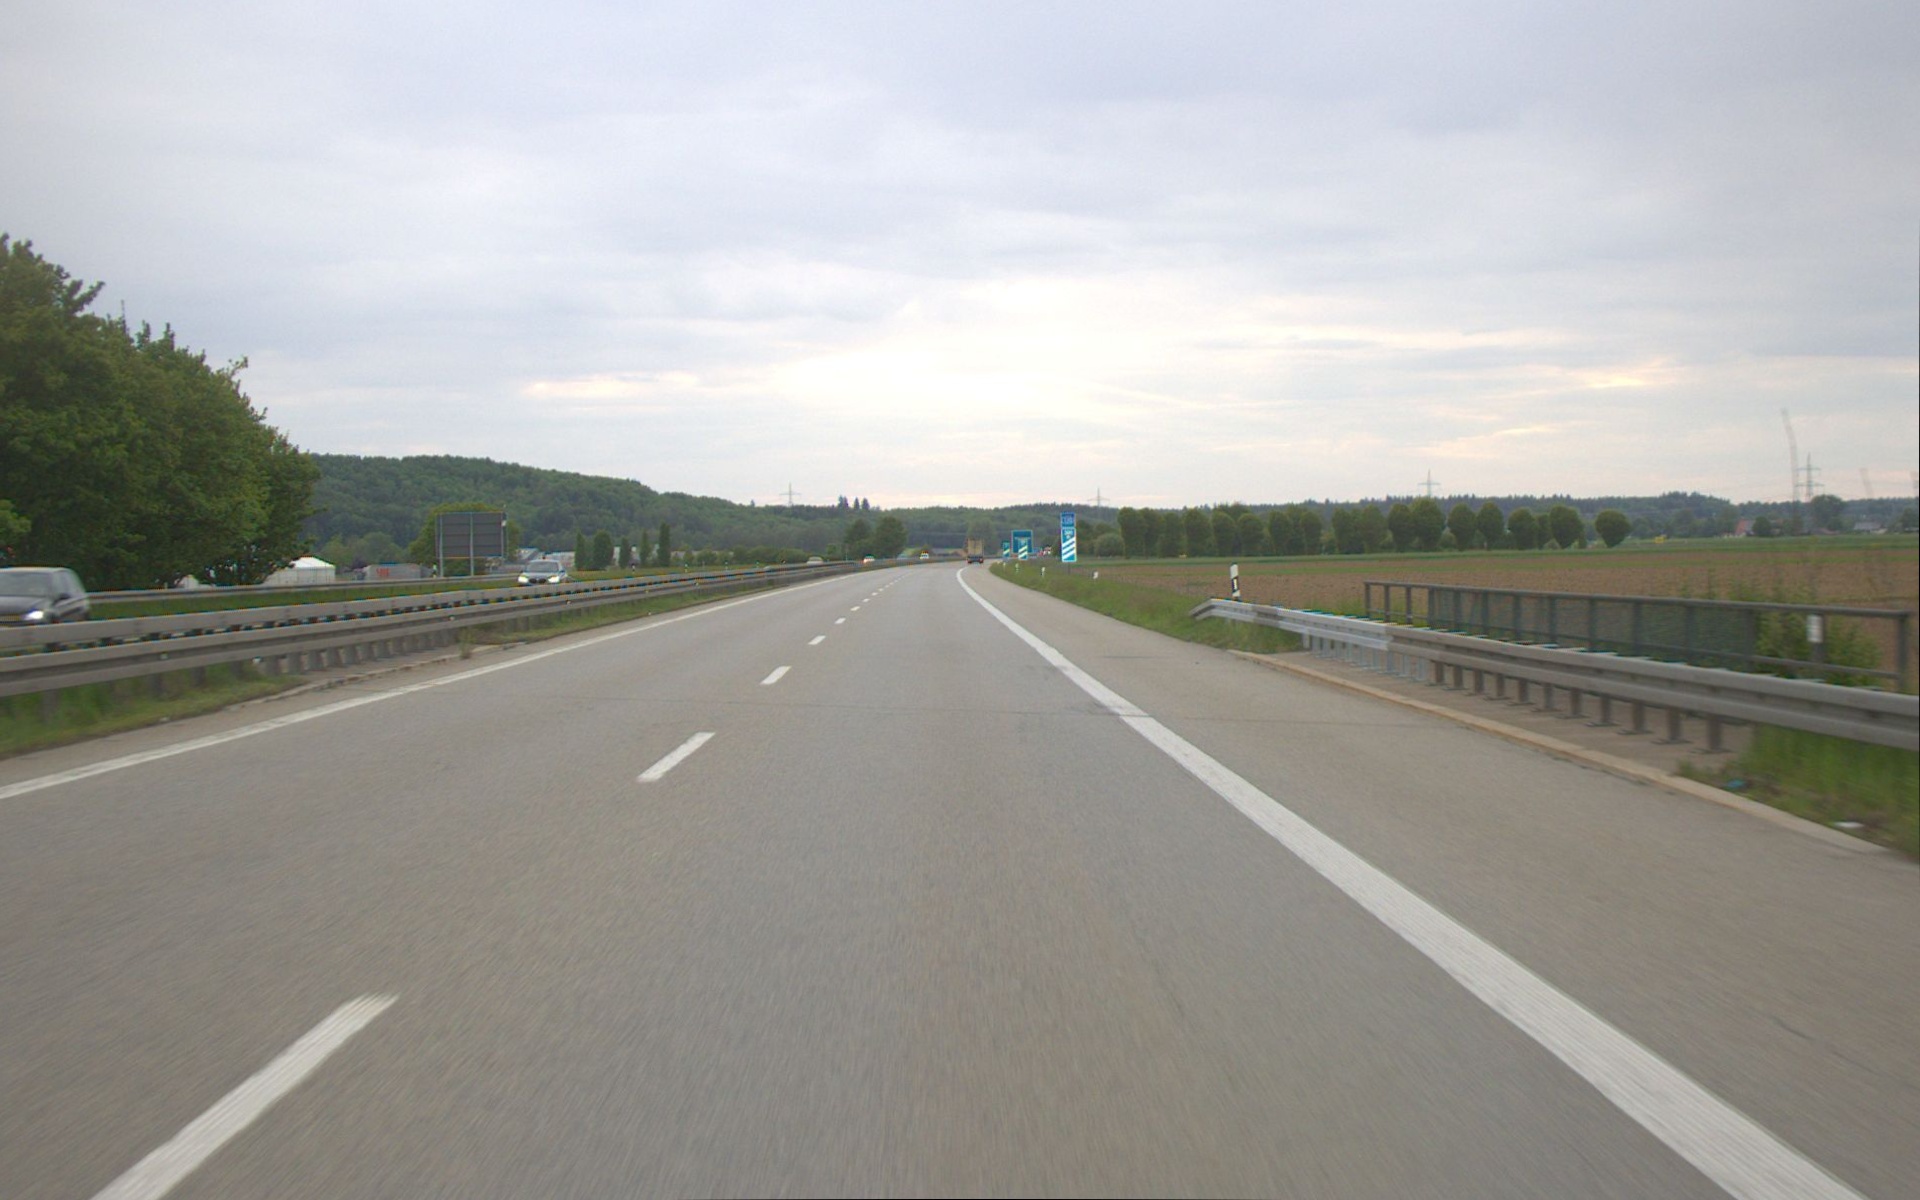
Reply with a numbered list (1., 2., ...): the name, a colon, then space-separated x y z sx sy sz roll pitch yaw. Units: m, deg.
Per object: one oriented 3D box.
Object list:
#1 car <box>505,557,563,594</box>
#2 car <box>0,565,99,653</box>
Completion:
1. car: -18.734 -1.100 151.406 1.993 1.577 4.809 1 1 0
2. car: -17.725 0.146 64.925 1.817 1.557 4.524 2 0 -1
